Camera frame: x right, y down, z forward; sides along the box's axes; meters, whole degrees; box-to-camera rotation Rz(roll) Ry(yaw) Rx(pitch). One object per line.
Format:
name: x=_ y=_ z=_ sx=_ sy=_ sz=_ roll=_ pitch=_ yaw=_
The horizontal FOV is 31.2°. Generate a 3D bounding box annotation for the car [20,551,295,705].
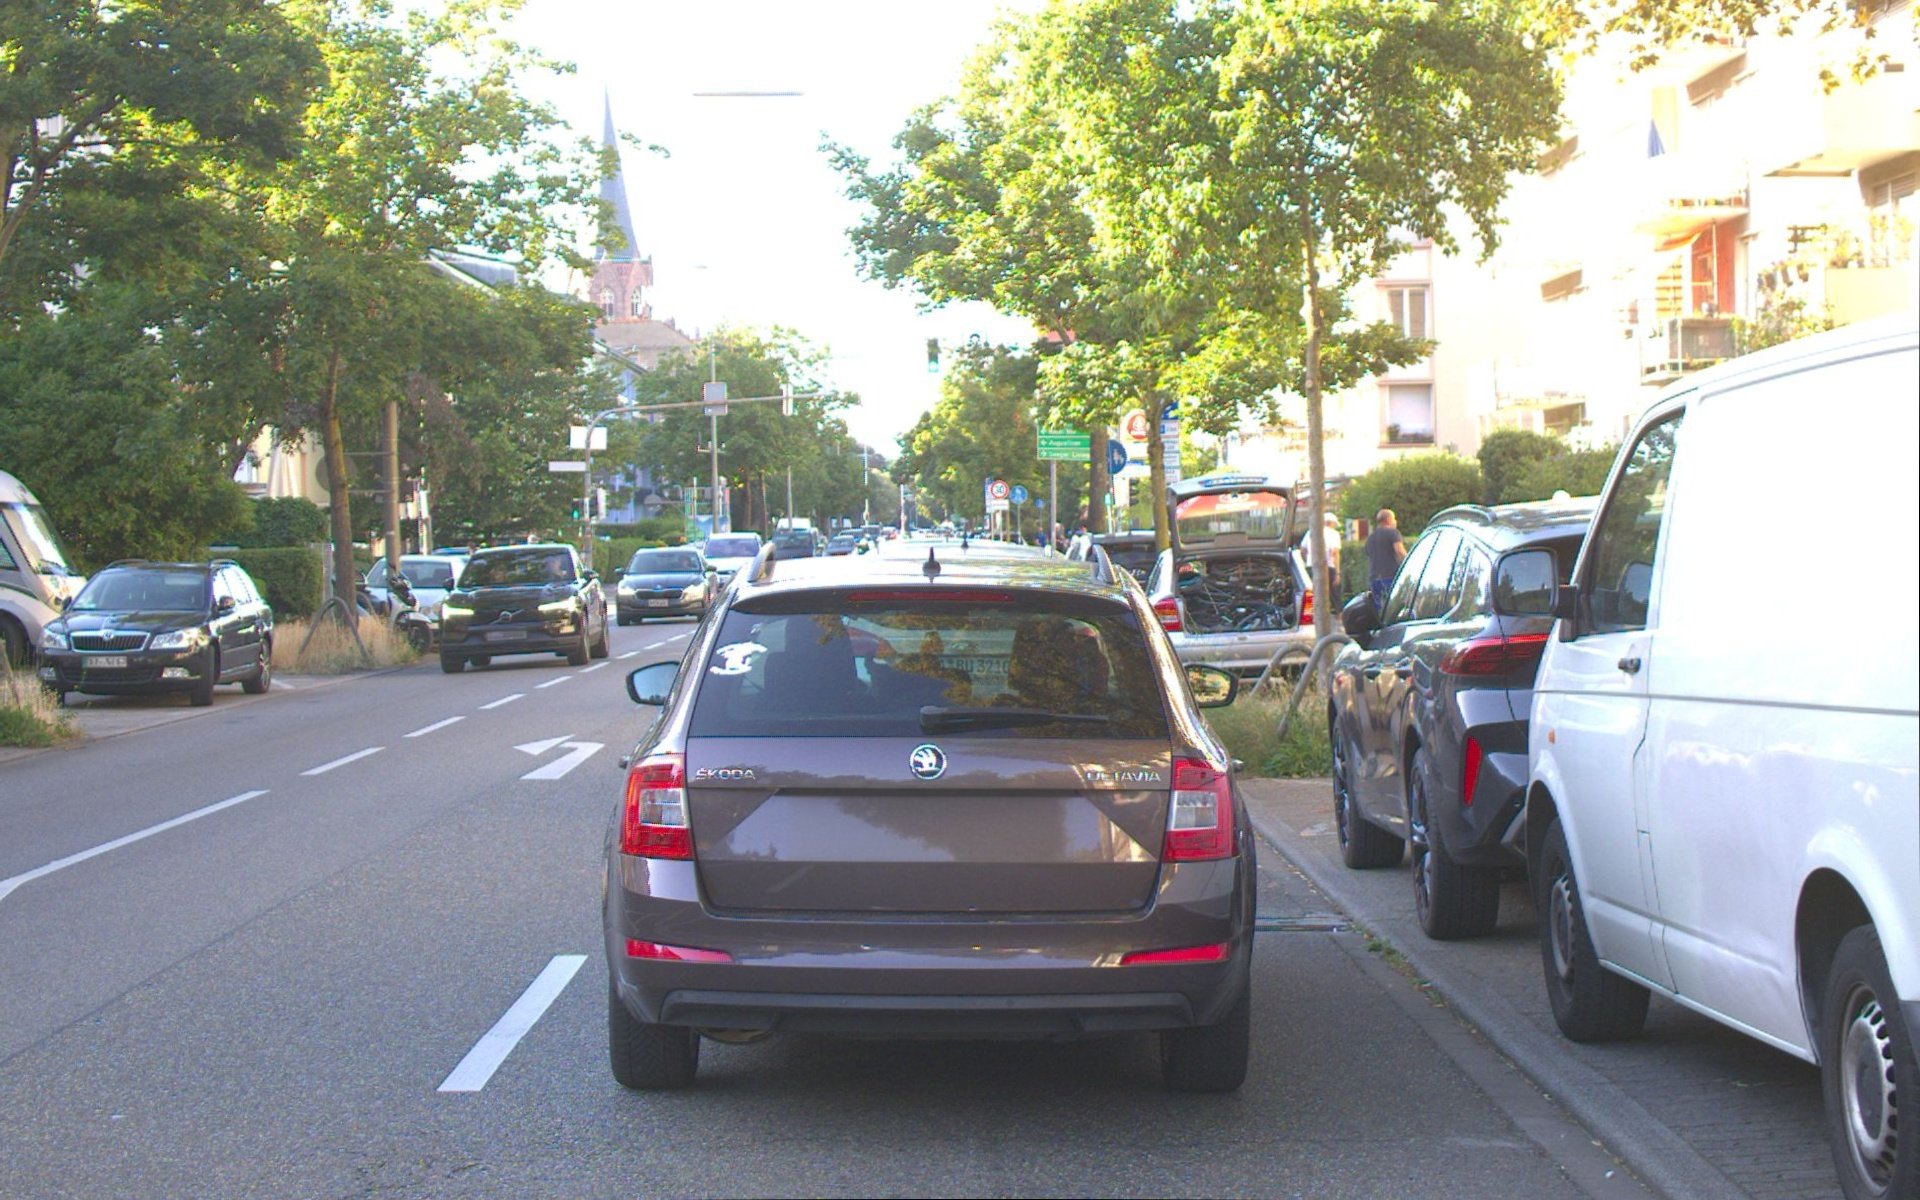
car: x=-8.401 y=0.243 z=36.371 sx=1.867 sy=1.489 sz=4.517 roll=0 pitch=1 yaw=0

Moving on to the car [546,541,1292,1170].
car: x=-0.131 y=0.571 z=10.334 sx=1.773 sy=1.484 sz=4.311 roll=0 pitch=1 yaw=-1

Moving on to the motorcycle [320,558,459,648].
motorcycle: x=-8.218 y=0.045 z=49.487 sx=2.052 sy=1.260 sz=0.765 roll=-1 pitch=1 yaw=38

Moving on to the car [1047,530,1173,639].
car: x=2.173 y=-0.260 z=50.432 sx=1.703 sy=1.445 sz=4.013 roll=-3 pitch=1 yaw=2

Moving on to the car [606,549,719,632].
car: x=-5.780 y=-0.211 z=67.248 sx=1.760 sy=1.447 sz=4.534 roll=-3 pitch=1 yaw=0

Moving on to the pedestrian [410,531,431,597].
pedestrian: x=-14.809 y=-0.988 z=94.377 sx=0.449 sy=1.790 sz=0.504 roll=-1 pitch=1 yaw=0

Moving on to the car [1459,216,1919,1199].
car: x=2.627 y=0.289 z=8.557 sx=1.903 sy=2.096 sz=4.641 roll=-1 pitch=1 yaw=-2

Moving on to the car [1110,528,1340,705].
car: x=2.433 y=0.104 z=32.442 sx=1.708 sy=1.475 sz=4.269 roll=-3 pitch=1 yaw=-1

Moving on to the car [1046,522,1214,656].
car: x=2.156 y=-0.172 z=44.652 sx=1.855 sy=1.576 sz=4.014 roll=-3 pitch=1 yaw=-1

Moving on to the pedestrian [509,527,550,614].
pedestrian: x=-9.856 y=-0.681 z=78.781 sx=0.780 sy=1.981 sz=0.821 roll=-1 pitch=1 yaw=0

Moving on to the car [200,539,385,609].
car: x=-18.129 y=-0.717 z=93.537 sx=4.634 sy=1.805 sz=1.862 roll=-1 pitch=1 yaw=-1

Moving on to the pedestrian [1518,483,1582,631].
pedestrian: x=6.614 y=-0.479 z=38.548 sx=0.474 sy=1.634 sz=0.536 roll=-2 pitch=1 yaw=-19

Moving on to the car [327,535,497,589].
car: x=-15.843 y=-1.117 z=99.523 sx=4.634 sy=1.530 sz=1.862 roll=0 pitch=1 yaw=-1

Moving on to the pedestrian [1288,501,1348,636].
pedestrian: x=4.746 y=-0.420 z=45.560 sx=0.662 sy=1.743 sz=0.772 roll=-3 pitch=1 yaw=2

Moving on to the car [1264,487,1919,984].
car: x=2.435 y=0.424 z=14.006 sx=1.856 sy=1.598 sz=4.312 roll=-4 pitch=1 yaw=-1

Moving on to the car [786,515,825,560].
car: x=-8.627 y=-3.505 z=192.324 sx=1.993 sy=2.469 sz=4.000 roll=-1 pitch=1 yaw=0

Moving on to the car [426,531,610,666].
car: x=-5.645 y=-0.044 z=44.339 sx=1.835 sy=1.565 sz=4.000 roll=-3 pitch=1 yaw=-1

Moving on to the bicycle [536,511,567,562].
bicycle: x=-8.631 y=-1.349 z=72.714 sx=0.486 sy=1.060 sz=1.534 roll=-1 pitch=1 yaw=-1

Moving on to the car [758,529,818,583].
car: x=-6.515 y=-1.681 z=130.575 sx=1.993 sy=1.902 sz=4.964 roll=-3 pitch=1 yaw=-1

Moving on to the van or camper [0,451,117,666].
van or camper: x=-14.872 y=-0.616 z=45.569 sx=6.797 sy=2.763 sz=2.352 roll=1 pitch=1 yaw=-1

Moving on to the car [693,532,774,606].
car: x=-5.881 y=-0.827 z=89.724 sx=1.805 sy=1.798 sz=4.746 roll=-3 pitch=1 yaw=-1

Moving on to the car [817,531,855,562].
car: x=-6.523 y=-2.827 z=181.102 sx=1.830 sy=1.574 sz=4.000 roll=-2 pitch=1 yaw=0

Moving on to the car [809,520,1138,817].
car: x=0.082 y=0.327 z=20.357 sx=1.737 sy=1.565 sz=4.000 roll=1 pitch=1 yaw=0

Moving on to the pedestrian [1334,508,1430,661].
pedestrian: x=4.573 y=-0.171 z=37.252 sx=0.757 sy=1.634 sz=0.694 roll=-1 pitch=1 yaw=36

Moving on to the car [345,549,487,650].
car: x=-8.376 y=-0.041 z=53.196 sx=1.593 sy=1.465 sz=3.804 roll=1 pitch=1 yaw=0

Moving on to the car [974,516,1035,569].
car: x=1.565 y=-2.012 z=119.821 sx=1.994 sy=1.766 sz=4.000 roll=1 pitch=1 yaw=2
